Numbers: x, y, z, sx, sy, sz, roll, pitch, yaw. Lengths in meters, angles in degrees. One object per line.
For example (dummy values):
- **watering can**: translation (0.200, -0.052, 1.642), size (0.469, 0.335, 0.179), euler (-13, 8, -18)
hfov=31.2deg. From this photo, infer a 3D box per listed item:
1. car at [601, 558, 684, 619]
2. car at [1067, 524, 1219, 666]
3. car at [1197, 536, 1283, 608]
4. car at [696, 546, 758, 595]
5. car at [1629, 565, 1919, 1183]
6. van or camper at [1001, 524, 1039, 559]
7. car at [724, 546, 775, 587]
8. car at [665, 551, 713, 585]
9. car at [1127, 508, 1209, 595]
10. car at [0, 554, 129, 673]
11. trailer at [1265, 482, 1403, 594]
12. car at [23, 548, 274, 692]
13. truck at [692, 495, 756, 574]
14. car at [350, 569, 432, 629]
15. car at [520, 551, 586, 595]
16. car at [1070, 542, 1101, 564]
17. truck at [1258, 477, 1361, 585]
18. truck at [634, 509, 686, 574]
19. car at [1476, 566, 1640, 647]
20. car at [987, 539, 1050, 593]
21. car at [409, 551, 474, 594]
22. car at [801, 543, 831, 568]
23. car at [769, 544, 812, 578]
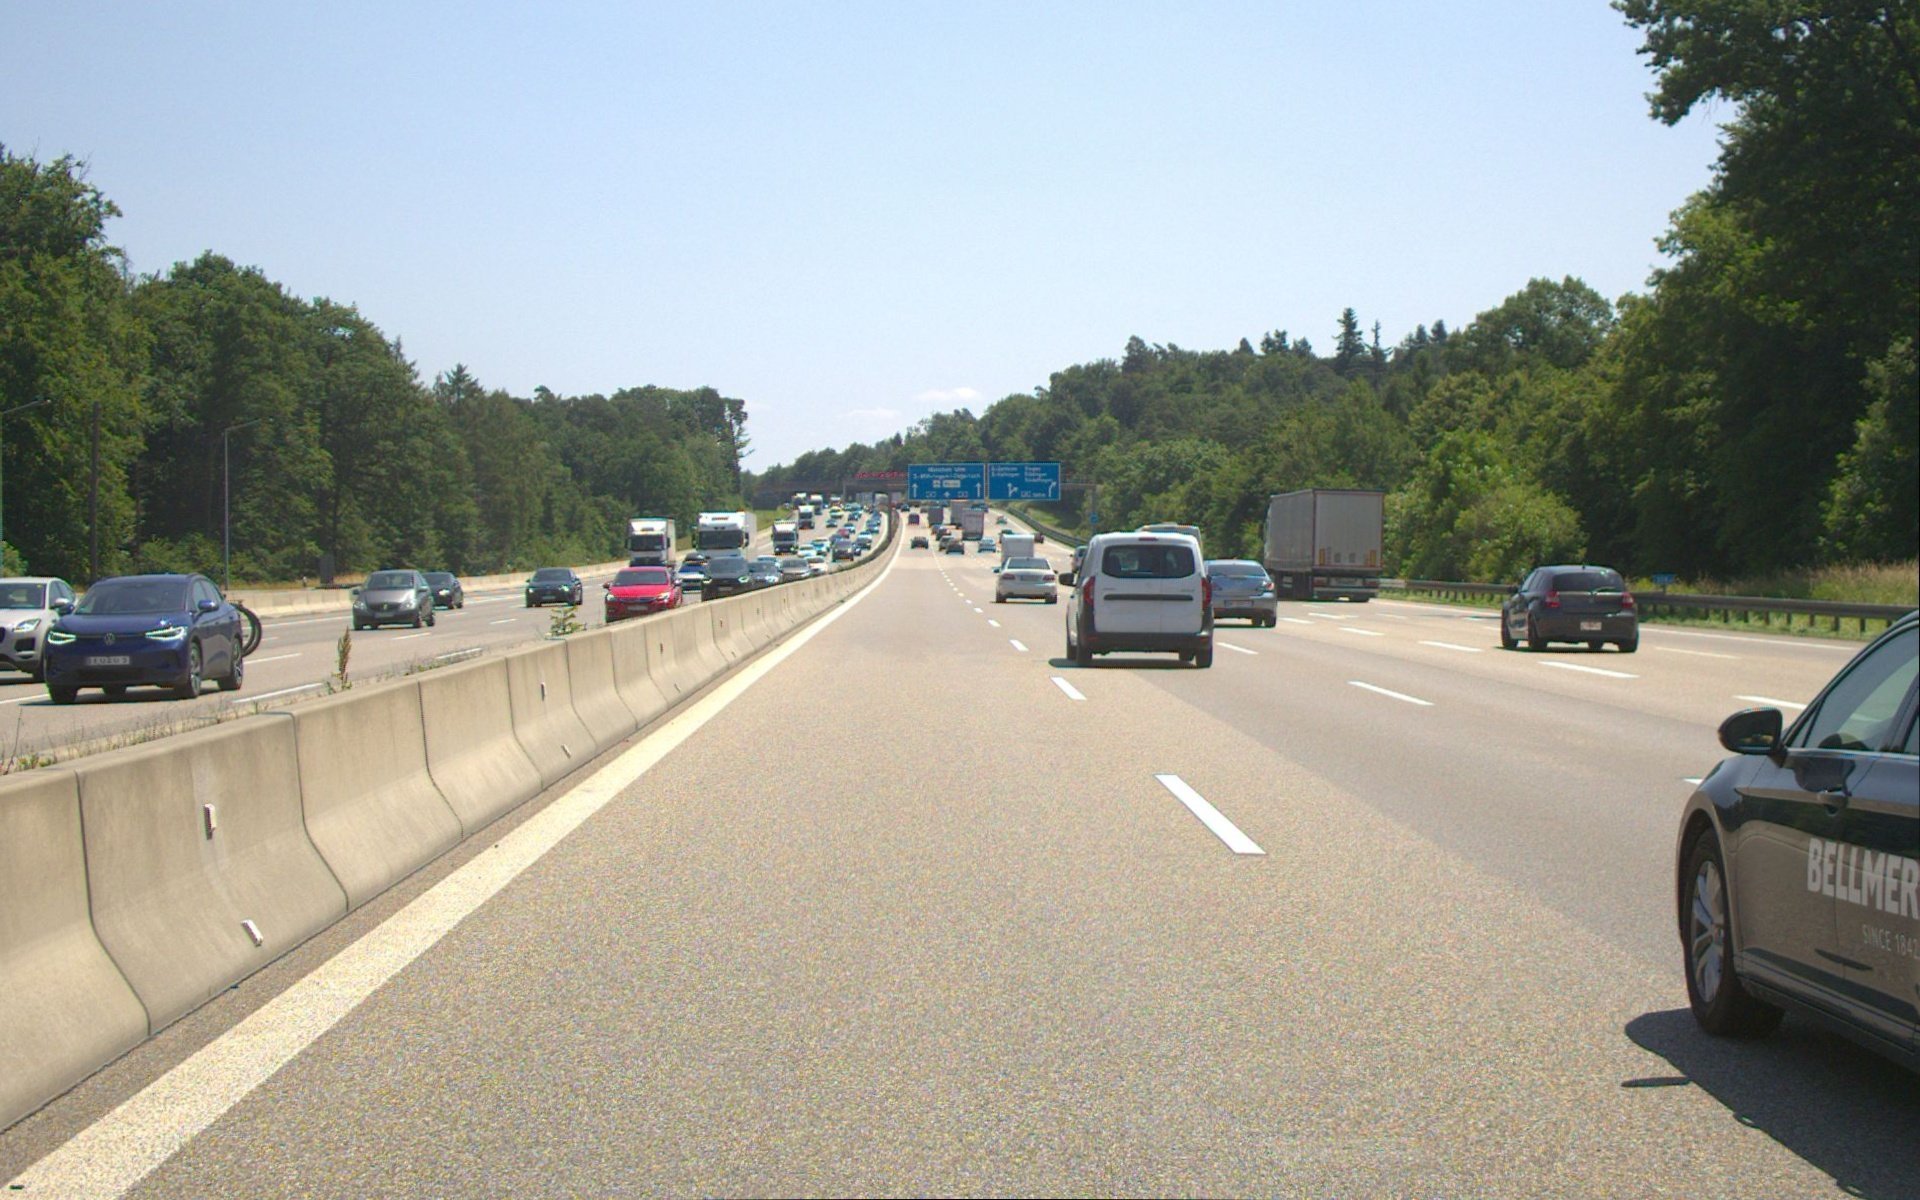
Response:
- **car**: translation (-8.173, -0.326, 88.889), size (1.730, 1.508, 5.045), euler (-1, 1, -1)
- **car**: translation (2.473, -0.105, 47.323), size (1.860, 1.819, 4.612), euler (-1, 1, 1)
- **car**: translation (6.061, -0.625, 74.644), size (1.503, 1.495, 3.650), euler (-1, 1, -1)
- **car**: translation (-8.442, -1.087, 124.738), size (1.993, 1.657, 5.755), euler (-2, 1, -2)
- **car**: translation (3.152, 0.650, 9.254), size (1.729, 1.442, 4.961), euler (0, 1, 0)
- **van or camper**: translation (4.434, -4.350, 256.447), size (2.645, 2.530, 6.502), euler (-1, 1, -1)
- **car**: translation (-9.056, -1.452, 148.108), size (1.993, 1.657, 4.972), euler (-2, 1, -2)
- **car**: translation (-12.724, -1.529, 161.847), size (1.993, 1.482, 5.019), euler (-2, 1, -2)
- **car**: translation (6.537, -1.574, 108.545), size (2.143, 2.643, 5.710), euler (0, 2, -1)
- **car**: translation (-14.881, 0.170, 54.547), size (1.993, 1.768, 5.924), euler (-1, 1, -1)
- **trailer**: translation (13.911, -2.412, 129.187), size (3.287, 3.917, 13.892), euler (1, 2, -1)
- **car**: translation (-10.750, 0.205, 45.989), size (1.993, 1.768, 5.924), euler (-1, 1, -1)
- **truck**: translation (-12.715, -3.522, 185.509), size (3.047, 4.122, 6.949), euler (-1, 1, -1)
- **car**: translation (-15.359, -0.038, 92.956), size (1.722, 1.549, 4.058), euler (-1, 1, -3)
- **car**: translation (-15.524, -1.040, 131.364), size (1.993, 1.615, 5.755), euler (-1, 1, -1)
- **car**: translation (8.268, -3.120, 227.437), size (1.835, 1.333, 3.644), euler (-1, 2, -1)
- **truck**: translation (13.755, -2.766, 135.763), size (3.254, 4.092, 5.988), euler (1, 2, -1)
- **truck**: translation (-19.990, -3.876, 229.487), size (2.834, 4.183, 10.597), euler (-1, 1, -2)
- **car**: translation (9.868, 0.080, 57.012), size (1.670, 1.269, 4.291), euler (0, 1, -4)
- **car**: translation (1.827, -1.079, 108.751), size (1.843, 1.623, 4.554), euler (-1, 1, -1)
- **car**: translation (-19.861, -1.069, 131.824), size (1.993, 1.615, 4.215), euler (-1, 1, -2)
- **car**: translation (-8.732, -2.707, 208.159), size (1.747, 1.452, 4.157), euler (-1, 1, -3)
- **car**: translation (-8.567, -2.009, 174.298), size (1.993, 1.482, 5.136), euler (-6, 1, -2)
